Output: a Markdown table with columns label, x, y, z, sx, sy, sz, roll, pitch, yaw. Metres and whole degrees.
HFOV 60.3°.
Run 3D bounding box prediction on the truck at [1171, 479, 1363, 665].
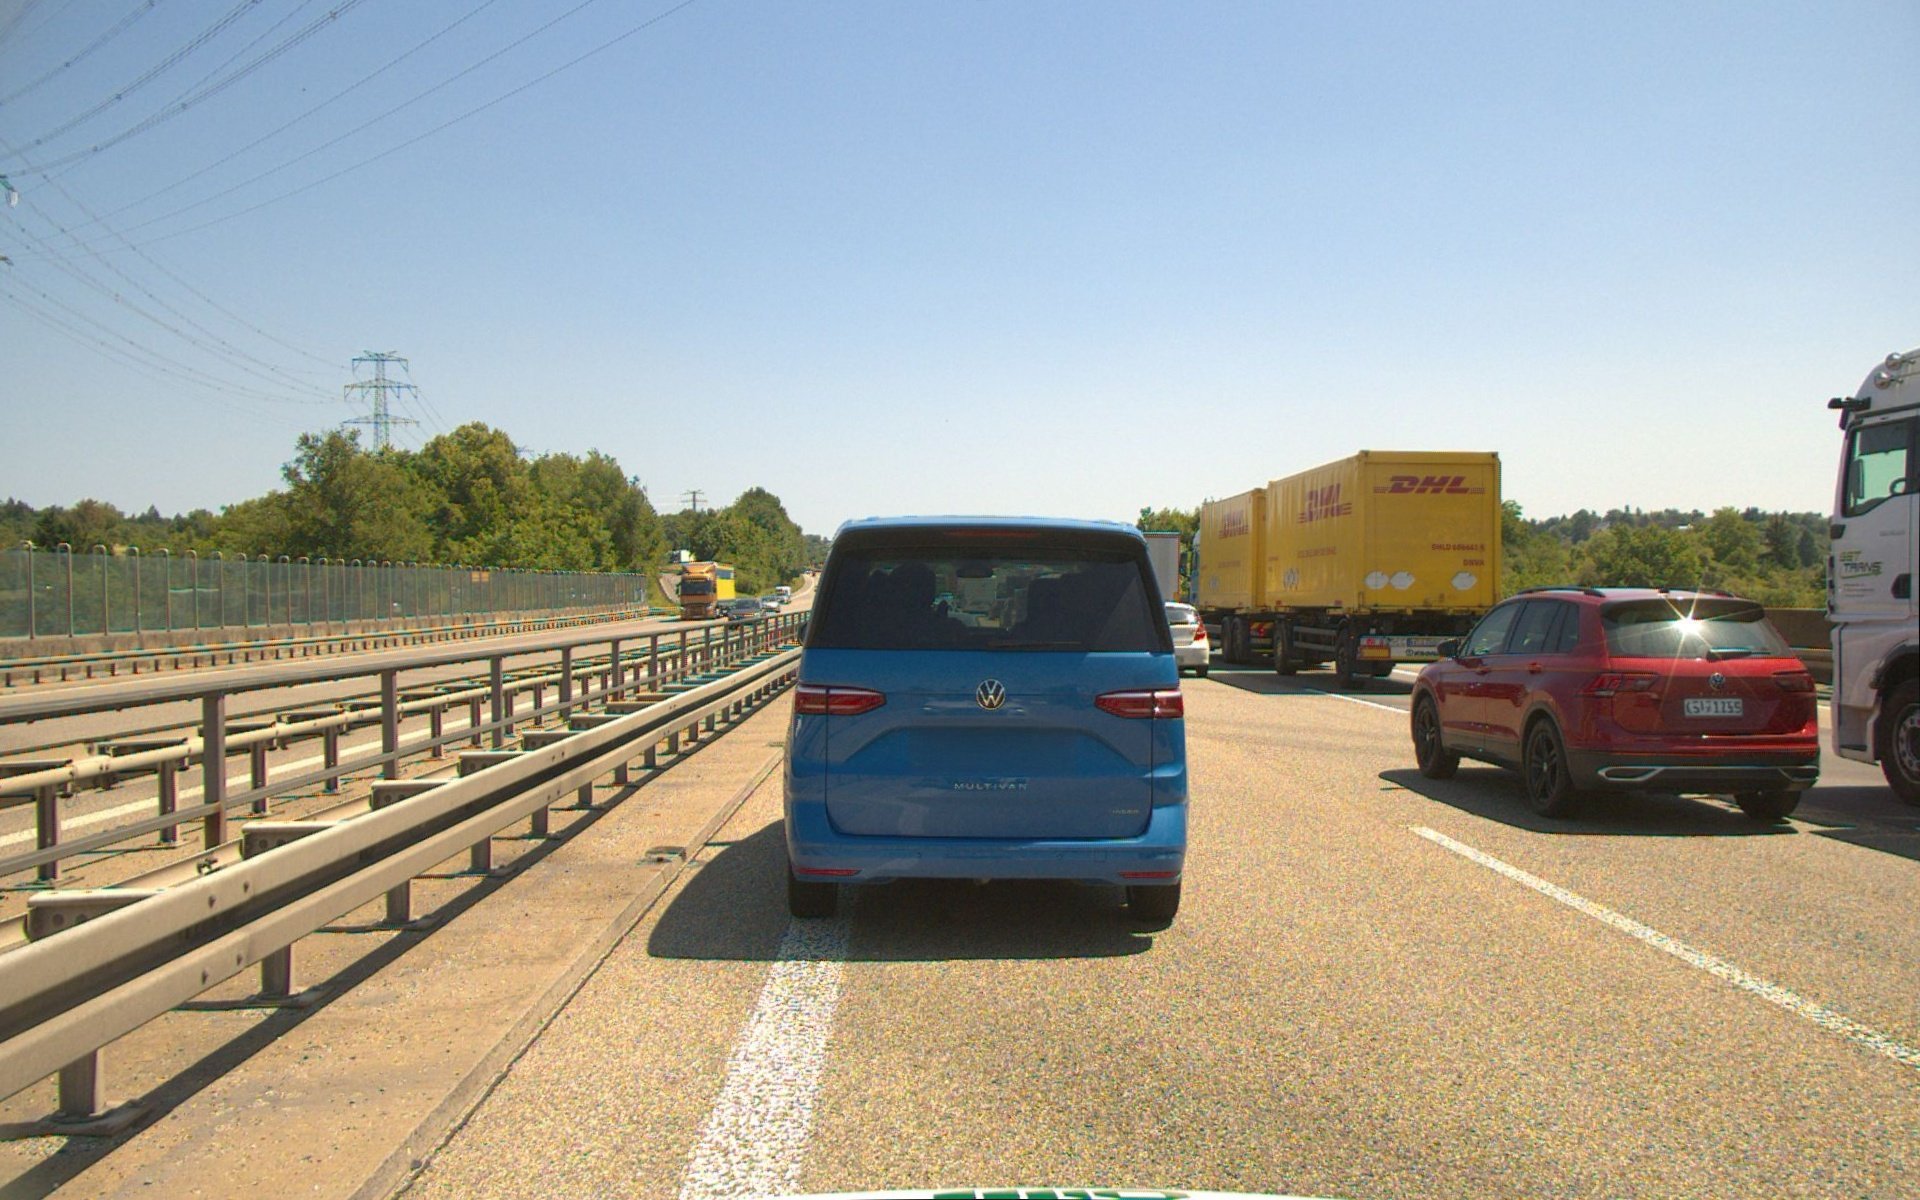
| label | x | y | z | sx | sy | sz | roll | pitch | yaw |
| --- | --- | --- | --- | --- | --- | --- | --- | --- | --- |
| truck | 7.583 | -0.599 | 42.356 | 2.645 | 4.159 | 9.934 | 1 | -1 | -2 |

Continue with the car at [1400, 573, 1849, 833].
| label | x | y | z | sx | sy | sz | roll | pitch | yaw |
| --- | --- | --- | --- | --- | --- | --- | --- | --- | --- |
| car | 4.960 | 0.670 | 13.051 | 1.674 | 1.708 | 4.283 | 0 | 0 | -3 |

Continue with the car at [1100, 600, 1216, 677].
| label | x | y | z | sx | sy | sz | roll | pitch | yaw |
| --- | --- | --- | --- | --- | --- | --- | --- | --- | --- |
| car | 4.088 | 0.786 | 34.730 | 1.779 | 1.496 | 3.930 | 1 | -1 | -3 |

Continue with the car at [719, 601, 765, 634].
| label | x | y | z | sx | sy | sz | roll | pitch | yaw |
| --- | --- | --- | --- | --- | --- | --- | --- | --- | --- |
| car | -10.939 | 0.861 | 83.229 | 1.726 | 1.534 | 4.222 | -1 | 0 | -1 |

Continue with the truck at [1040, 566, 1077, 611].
| label | x | y | z | sx | sy | sz | roll | pitch | yaw |
| --- | --- | --- | --- | --- | --- | --- | --- | --- | --- |
| truck | 5.629 | -0.630 | 94.873 | 1.761 | 2.492 | 4.503 | 1 | -1 | -1 |

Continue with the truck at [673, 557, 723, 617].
| label | x | y | z | sx | sy | sz | roll | pitch | yaw |
| --- | --- | --- | --- | --- | --- | --- | --- | --- | --- |
| truck | -19.310 | -0.899 | 122.227 | 2.617 | 4.258 | 6.287 | -1 | -1 | 1 |

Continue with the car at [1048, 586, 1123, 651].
| label | x | y | z | sx | sy | sz | roll | pitch | yaw |
| --- | --- | --- | --- | --- | --- | --- | --- | --- | --- |
| car | 3.498 | 0.514 | 46.710 | 1.778 | 1.708 | 3.931 | 1 | -1 | -1 |

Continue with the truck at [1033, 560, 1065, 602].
| label | x | y | z | sx | sy | sz | roll | pitch | yaw |
| --- | --- | --- | --- | --- | --- | --- | --- | --- | --- |
| truck | 5.860 | -1.252 | 108.895 | 1.760 | 2.641 | 4.304 | 1 | -1 | -1 |

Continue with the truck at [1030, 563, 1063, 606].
| label | x | y | z | sx | sy | sz | roll | pitch | yaw |
| --- | --- | --- | --- | --- | --- | --- | --- | --- | --- |
| truck | 5.407 | -0.940 | 103.768 | 1.706 | 2.593 | 4.209 | 1 | -1 | -1 |

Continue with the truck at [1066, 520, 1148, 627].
| label | x | y | z | sx | sy | sz | roll | pitch | yaw |
| --- | --- | --- | --- | --- | --- | --- | --- | --- | --- |
| truck | 6.775 | -1.140 | 77.350 | 2.965 | 4.692 | 7.919 | 1 | -1 | -1 |

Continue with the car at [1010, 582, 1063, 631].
| label | x | y | z | sx | sy | sz | roll | pitch | yaw |
| --- | --- | --- | --- | --- | --- | --- | --- | --- | --- |
| car | 3.194 | 0.299 | 69.448 | 1.922 | 1.970 | 3.931 | 1 | -1 | -1 |

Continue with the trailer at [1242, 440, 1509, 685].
| label | x | y | z | sx | sy | sz | roll | pitch | yaw |
| --- | --- | --- | --- | --- | --- | --- | --- | --- | --- |
| trailer | 7.901 | -0.603 | 32.841 | 2.629 | 4.159 | 8.975 | 1 | -1 | -3 |

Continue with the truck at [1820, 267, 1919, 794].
| label | x | y | z | sx | sy | sz | roll | pitch | yaw |
| --- | --- | --- | --- | --- | --- | --- | --- | --- | --- |
| truck | 8.798 | -0.544 | 8.659 | 2.794 | 4.003 | 10.605 | 1 | -1 | -2 |

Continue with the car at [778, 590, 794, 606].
| label | x | y | z | sx | sy | sz | roll | pitch | yaw |
| --- | --- | --- | --- | --- | --- | --- | --- | --- | --- |
| car | -23.422 | -0.251 | 222.866 | 1.805 | 2.077 | 3.942 | 1 | -1 | -1 |

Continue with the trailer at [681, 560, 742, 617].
| label | x | y | z | sx | sy | sz | roll | pitch | yaw |
| --- | --- | --- | --- | --- | --- | --- | --- | --- | --- |
| trailer | -19.236 | -0.777 | 128.880 | 2.574 | 4.186 | 14.015 | 0 | -1 | 0 |

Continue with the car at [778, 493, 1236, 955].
| label | x | y | z | sx | sy | sz | roll | pitch | yaw |
| --- | --- | --- | --- | --- | --- | --- | --- | --- | --- |
| car | 0.157 | 0.540 | 8.936 | 1.891 | 1.906 | 3.999 | 1 | -1 | -1 |

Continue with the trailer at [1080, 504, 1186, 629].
| label | x | y | z | sx | sy | sz | roll | pitch | yaw |
| --- | --- | --- | --- | --- | --- | --- | --- | --- | --- |
| trailer | 6.925 | -1.222 | 67.923 | 2.965 | 4.692 | 10.922 | 1 | -1 | -1 |

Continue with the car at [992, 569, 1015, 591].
| label | x | y | z | sx | sy | sz | roll | pitch | yaw |
| --- | --- | --- | --- | --- | --- | --- | --- | --- | --- |
| car | 4.209 | -1.908 | 159.964 | 1.953 | 2.049 | 3.999 | 1 | -1 | -1 |
